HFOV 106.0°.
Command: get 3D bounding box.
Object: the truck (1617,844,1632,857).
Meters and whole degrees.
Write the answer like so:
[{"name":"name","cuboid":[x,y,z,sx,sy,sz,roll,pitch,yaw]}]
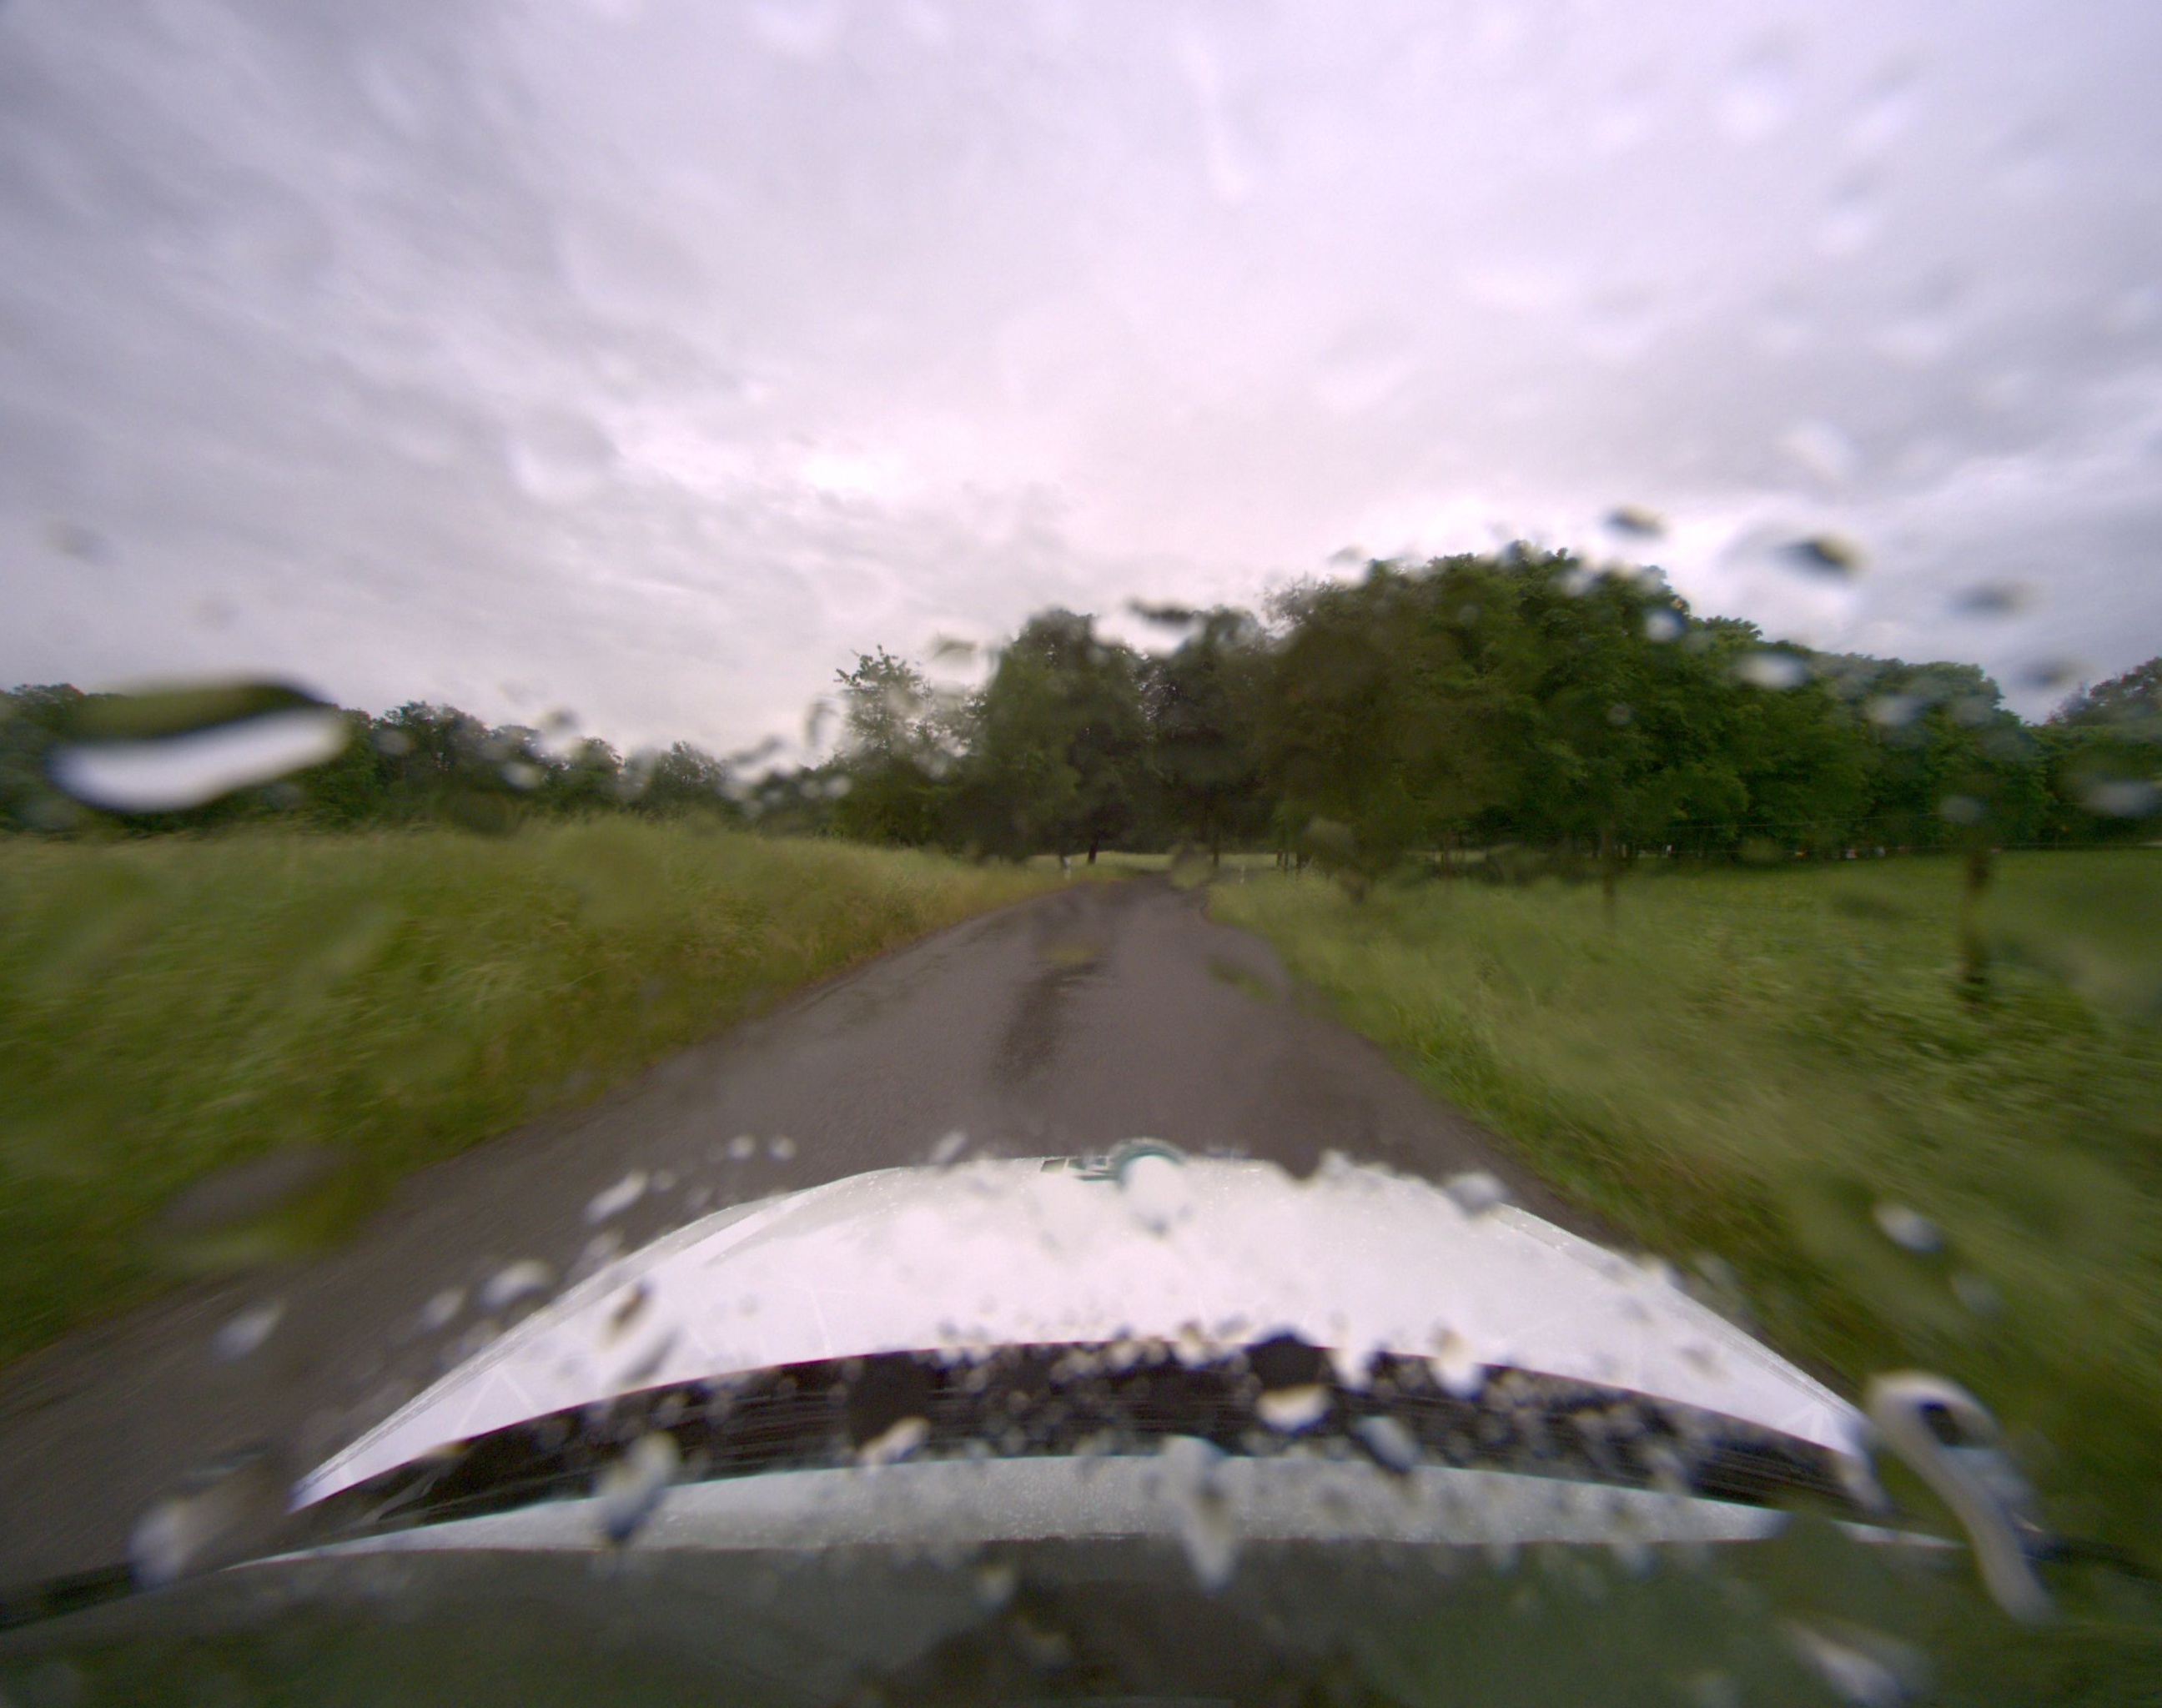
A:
[{"name":"truck","cuboid":[102.472,-0.597,153.611,1.852,2.442,3.369,0,0,43]}]
